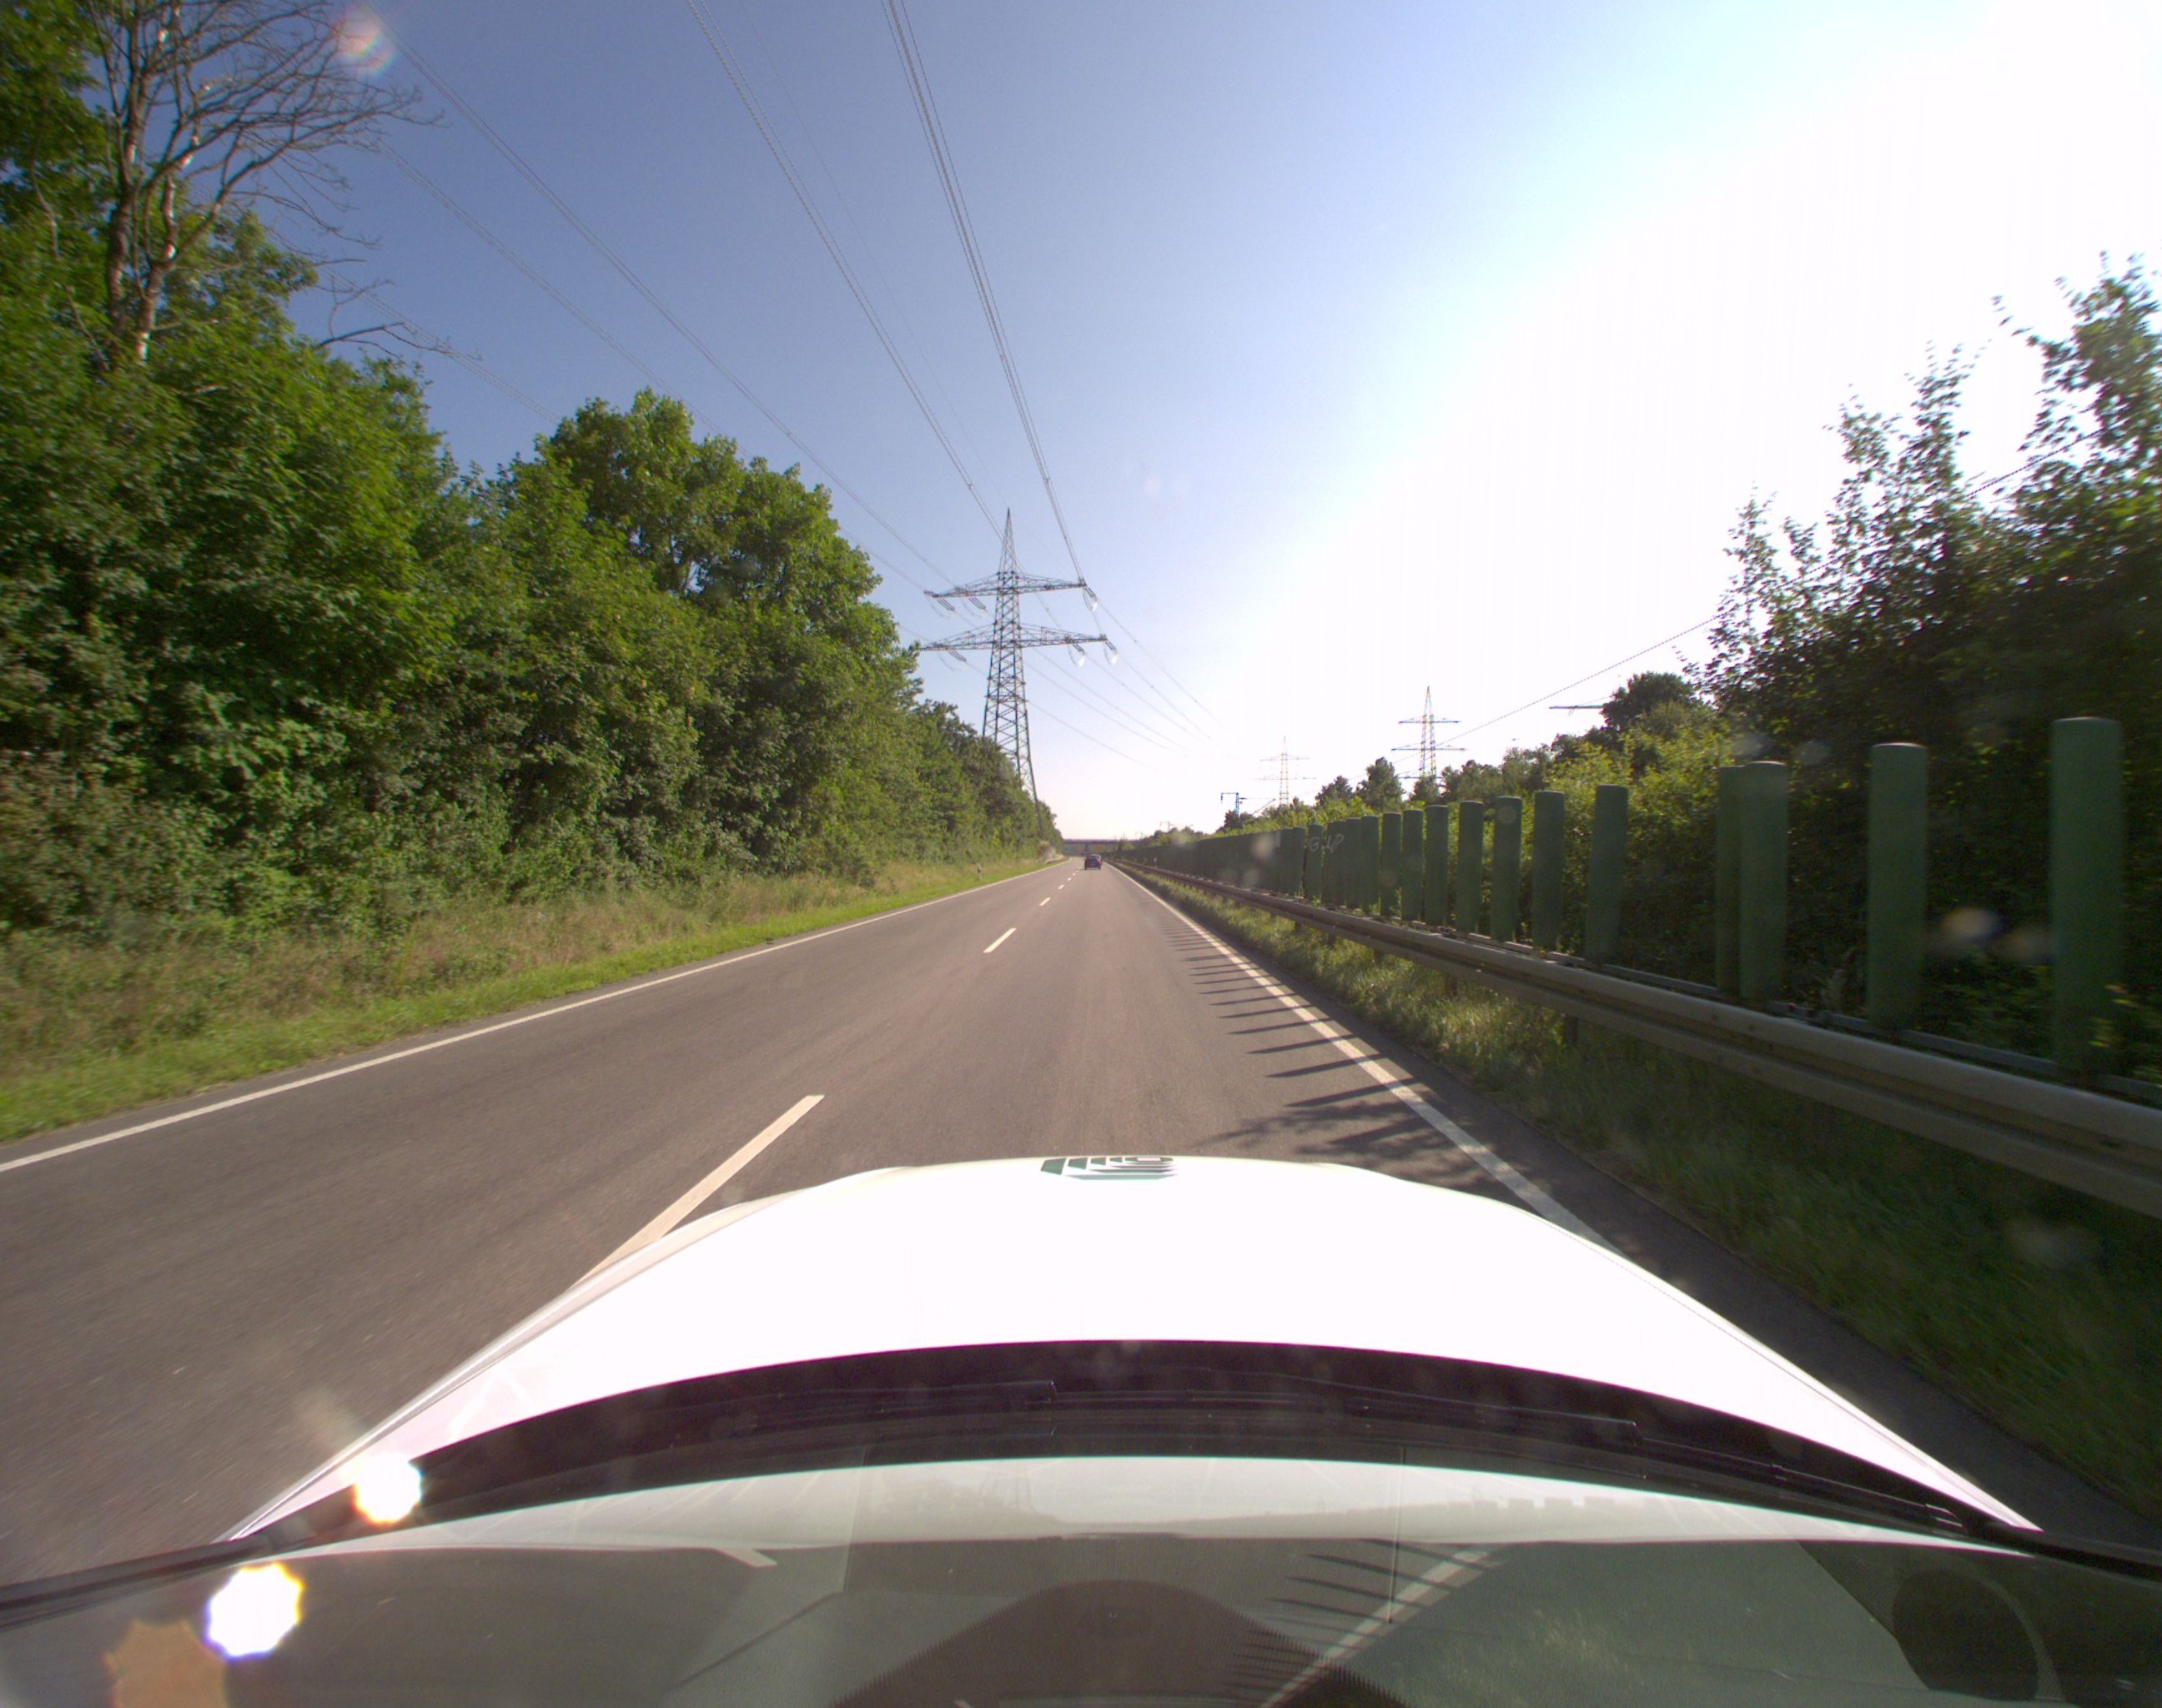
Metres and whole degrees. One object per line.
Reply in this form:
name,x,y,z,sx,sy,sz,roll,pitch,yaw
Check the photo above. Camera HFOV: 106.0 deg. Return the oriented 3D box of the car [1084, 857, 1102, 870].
car,1.172,0.995,82.051,1.659,1.261,3.997,0,-1,-2
